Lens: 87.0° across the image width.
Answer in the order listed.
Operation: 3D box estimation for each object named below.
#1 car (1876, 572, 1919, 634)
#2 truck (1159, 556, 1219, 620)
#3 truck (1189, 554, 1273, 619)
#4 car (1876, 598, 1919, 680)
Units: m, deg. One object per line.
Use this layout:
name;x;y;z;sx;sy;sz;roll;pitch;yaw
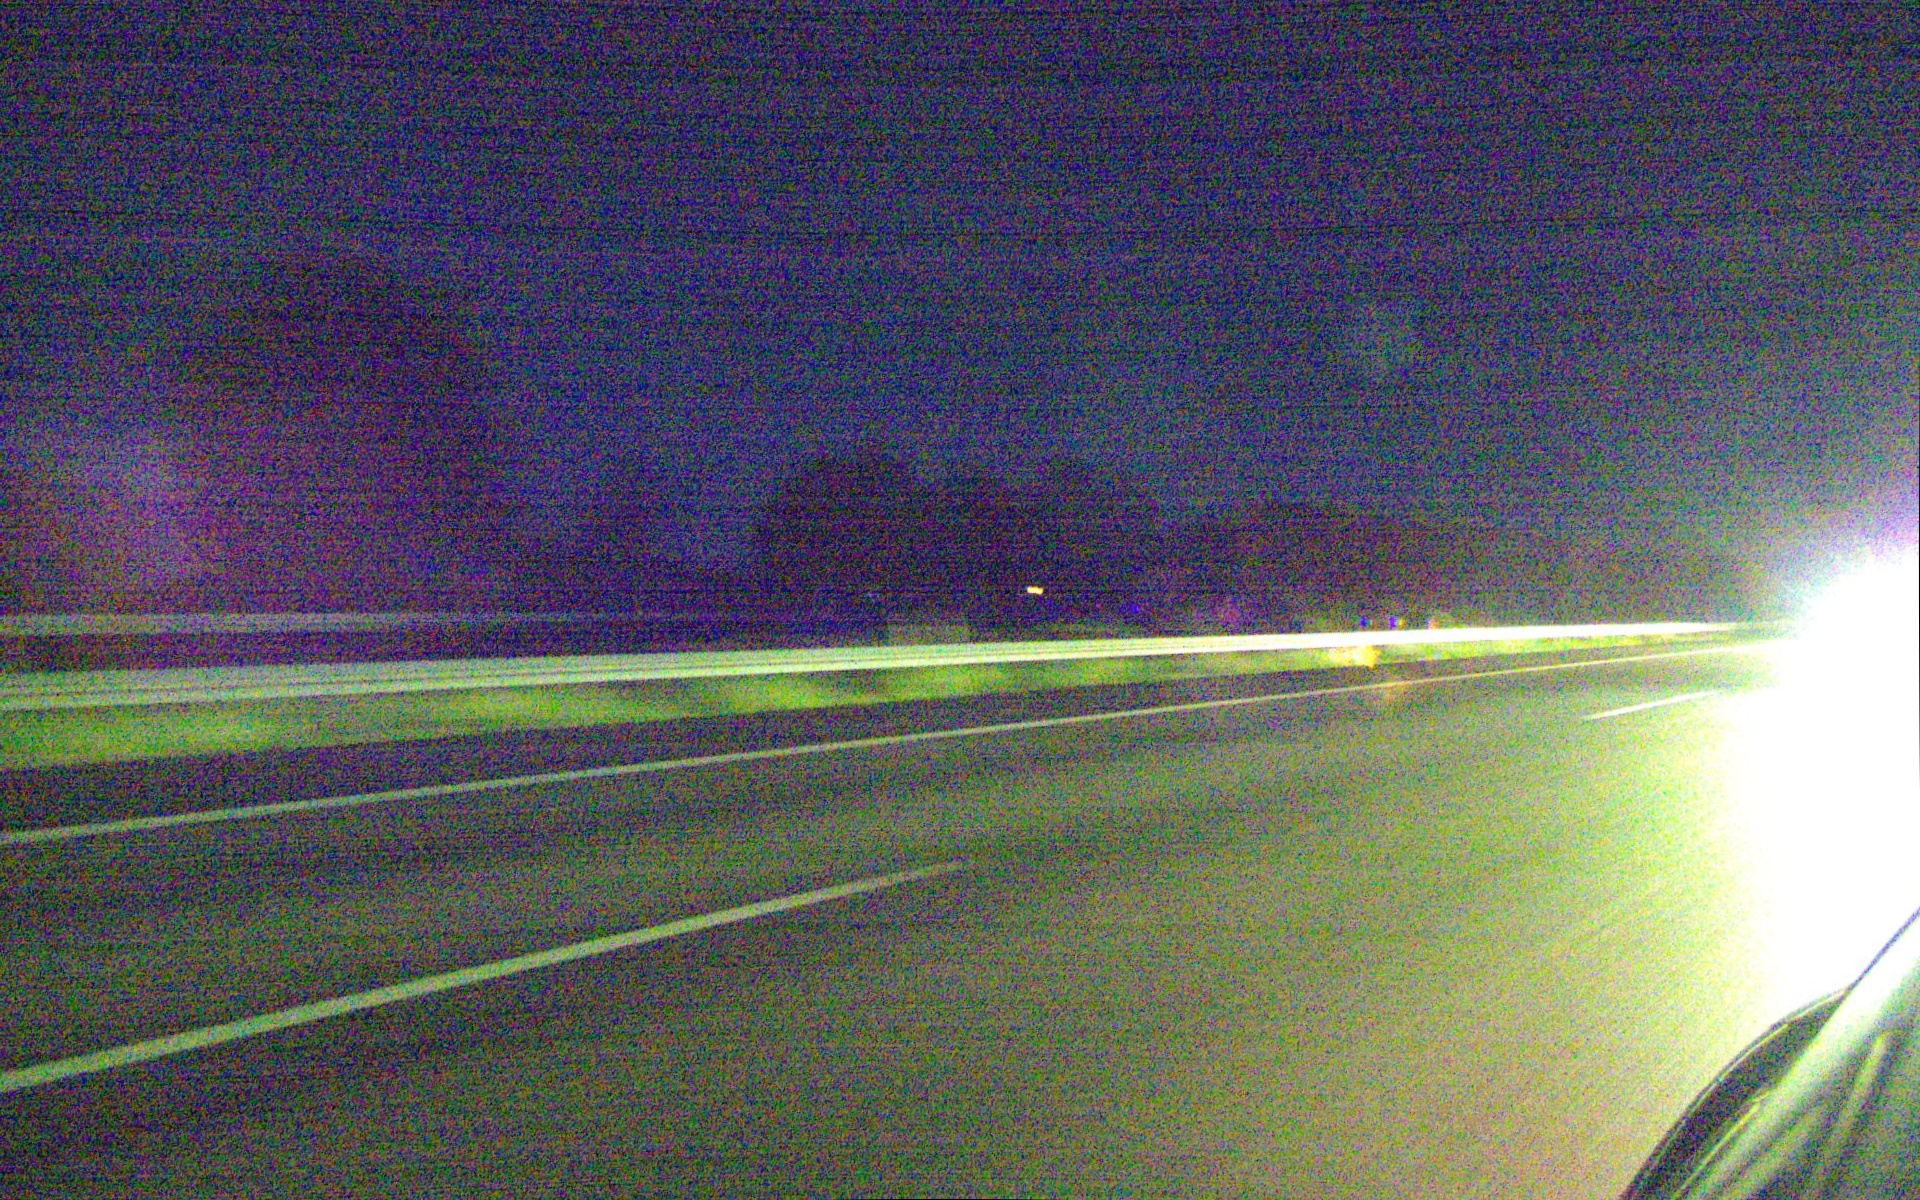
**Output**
car;47.040;0.130;49.539;6.118;2.942;2.532;0;0;-41
truck;13.883;-0.739;61.759;2.487;3.695;6.206;0;0;3
truck;17.826;-0.869;67.313;3.002;3.974;9.662;0;0;0
car;18.529;0.690;18.769;3.930;1.430;1.832;0;0;-41
